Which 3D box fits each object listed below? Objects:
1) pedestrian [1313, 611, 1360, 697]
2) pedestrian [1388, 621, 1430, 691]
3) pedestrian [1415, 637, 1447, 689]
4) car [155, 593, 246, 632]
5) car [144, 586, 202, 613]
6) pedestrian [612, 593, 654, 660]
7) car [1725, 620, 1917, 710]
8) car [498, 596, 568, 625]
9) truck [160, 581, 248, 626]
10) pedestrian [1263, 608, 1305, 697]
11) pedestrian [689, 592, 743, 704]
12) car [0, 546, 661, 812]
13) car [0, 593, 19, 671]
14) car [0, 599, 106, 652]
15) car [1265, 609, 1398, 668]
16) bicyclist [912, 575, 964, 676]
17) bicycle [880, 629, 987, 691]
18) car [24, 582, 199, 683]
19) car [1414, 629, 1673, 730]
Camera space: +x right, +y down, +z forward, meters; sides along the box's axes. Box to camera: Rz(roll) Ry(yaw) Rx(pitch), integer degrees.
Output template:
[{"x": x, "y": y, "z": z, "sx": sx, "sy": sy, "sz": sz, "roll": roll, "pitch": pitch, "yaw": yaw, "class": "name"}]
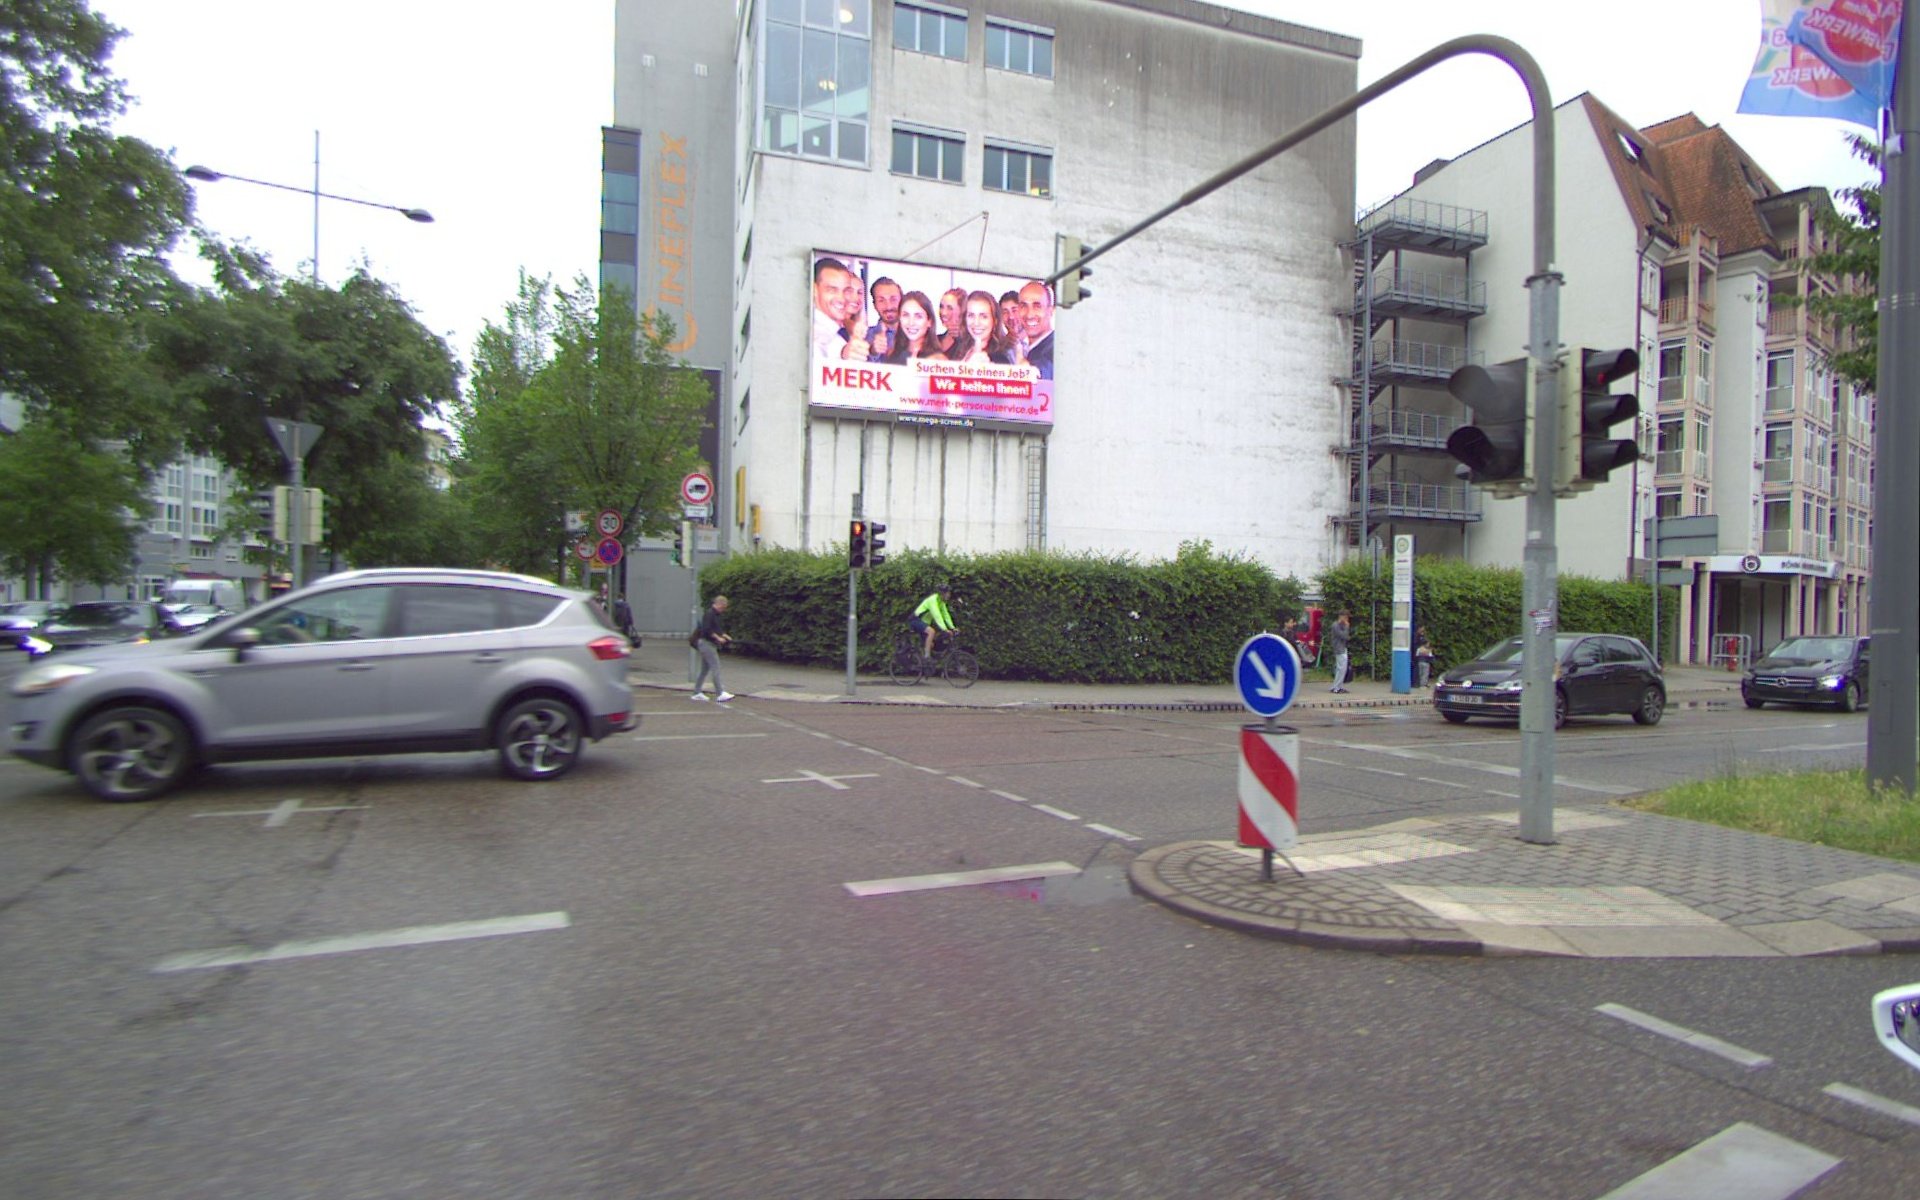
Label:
[{"x": 8.056, "y": 1.144, "z": 21.504, "sx": 0.585, "sy": 1.787, "sz": 0.639, "roll": 5, "pitch": -2, "yaw": -29, "class": "pedestrian"}, {"x": 10.525, "y": 1.297, "z": 23.566, "sx": 0.559, "sy": 1.580, "sz": 0.710, "roll": 1, "pitch": 0, "yaw": -34, "class": "pedestrian"}, {"x": 10.837, "y": 1.436, "z": 23.119, "sx": 0.496, "sy": 1.166, "sz": 0.466, "roll": 1, "pitch": 0, "yaw": -34, "class": "pedestrian"}, {"x": -33.480, "y": 0.555, "z": 44.418, "sx": 1.927, "sy": 1.576, "sz": 3.985, "roll": 2, "pitch": -1, "yaw": -18, "class": "car"}, {"x": -61.477, "y": -0.060, "z": 78.563, "sx": 1.882, "sy": 1.773, "sz": 3.803, "roll": 5, "pitch": 1, "yaw": -9, "class": "car"}, {"x": -9.067, "y": 0.741, "z": 27.835, "sx": 0.778, "sy": 1.804, "sz": 0.653, "roll": 3, "pitch": -1, "yaw": 8, "class": "pedestrian"}, {"x": 18.458, "y": 1.359, "z": 21.496, "sx": 4.208, "sy": 1.759, "sz": 1.819, "roll": 2, "pitch": -2, "yaw": -30, "class": "car"}, {"x": -28.124, "y": 0.733, "z": 66.213, "sx": 1.909, "sy": 1.684, "sz": 3.871, "roll": 5, "pitch": 0, "yaw": 25, "class": "car"}, {"x": -39.508, "y": 0.183, "z": 52.700, "sx": 1.971, "sy": 2.183, "sz": 6.670, "roll": 1, "pitch": 0, "yaw": -22, "class": "truck"}, {"x": 6.653, "y": 1.073, "z": 20.643, "sx": 0.623, "sy": 1.788, "sz": 0.524, "roll": 1, "pitch": 0, "yaw": -29, "class": "pedestrian"}, {"x": -4.034, "y": 0.785, "z": 16.583, "sx": 0.586, "sy": 1.787, "sz": 0.644, "roll": 5, "pitch": -2, "yaw": -30, "class": "pedestrian"}, {"x": -4.861, "y": 0.581, "z": 8.424, "sx": 4.254, "sy": 1.759, "sz": 1.821, "roll": 2, "pitch": -1, "yaw": -27, "class": "car"}, {"x": -19.976, "y": 0.646, "z": 19.485, "sx": 1.682, "sy": 1.607, "sz": 3.966, "roll": 1, "pitch": 0, "yaw": -31, "class": "car"}, {"x": -28.223, "y": 0.740, "z": 30.650, "sx": 1.834, "sy": 1.483, "sz": 3.985, "roll": 1, "pitch": -1, "yaw": -17, "class": "car"}, {"x": 10.299, "y": 1.054, "z": 27.809, "sx": 3.560, "sy": 1.530, "sz": 1.586, "roll": 2, "pitch": -1, "yaw": -32, "class": "car"}, {"x": -0.415, "y": 0.487, "z": 19.612, "sx": 0.935, "sy": 1.915, "sz": 0.794, "roll": 1, "pitch": 0, "yaw": 1, "class": "bicyclist"}, {"x": -0.501, "y": 1.150, "z": 19.561, "sx": 2.017, "sy": 1.125, "sz": 0.652, "roll": 1, "pitch": 0, "yaw": 2, "class": "bicycle"}, {"x": -15.941, "y": 0.588, "z": 19.080, "sx": 1.615, "sy": 1.718, "sz": 3.580, "roll": 1, "pitch": -1, "yaw": -25, "class": "car"}, {"x": 9.393, "y": 1.244, "z": 16.128, "sx": 4.046, "sy": 1.439, "sz": 1.751, "roll": 3, "pitch": -3, "yaw": -28, "class": "car"}]
